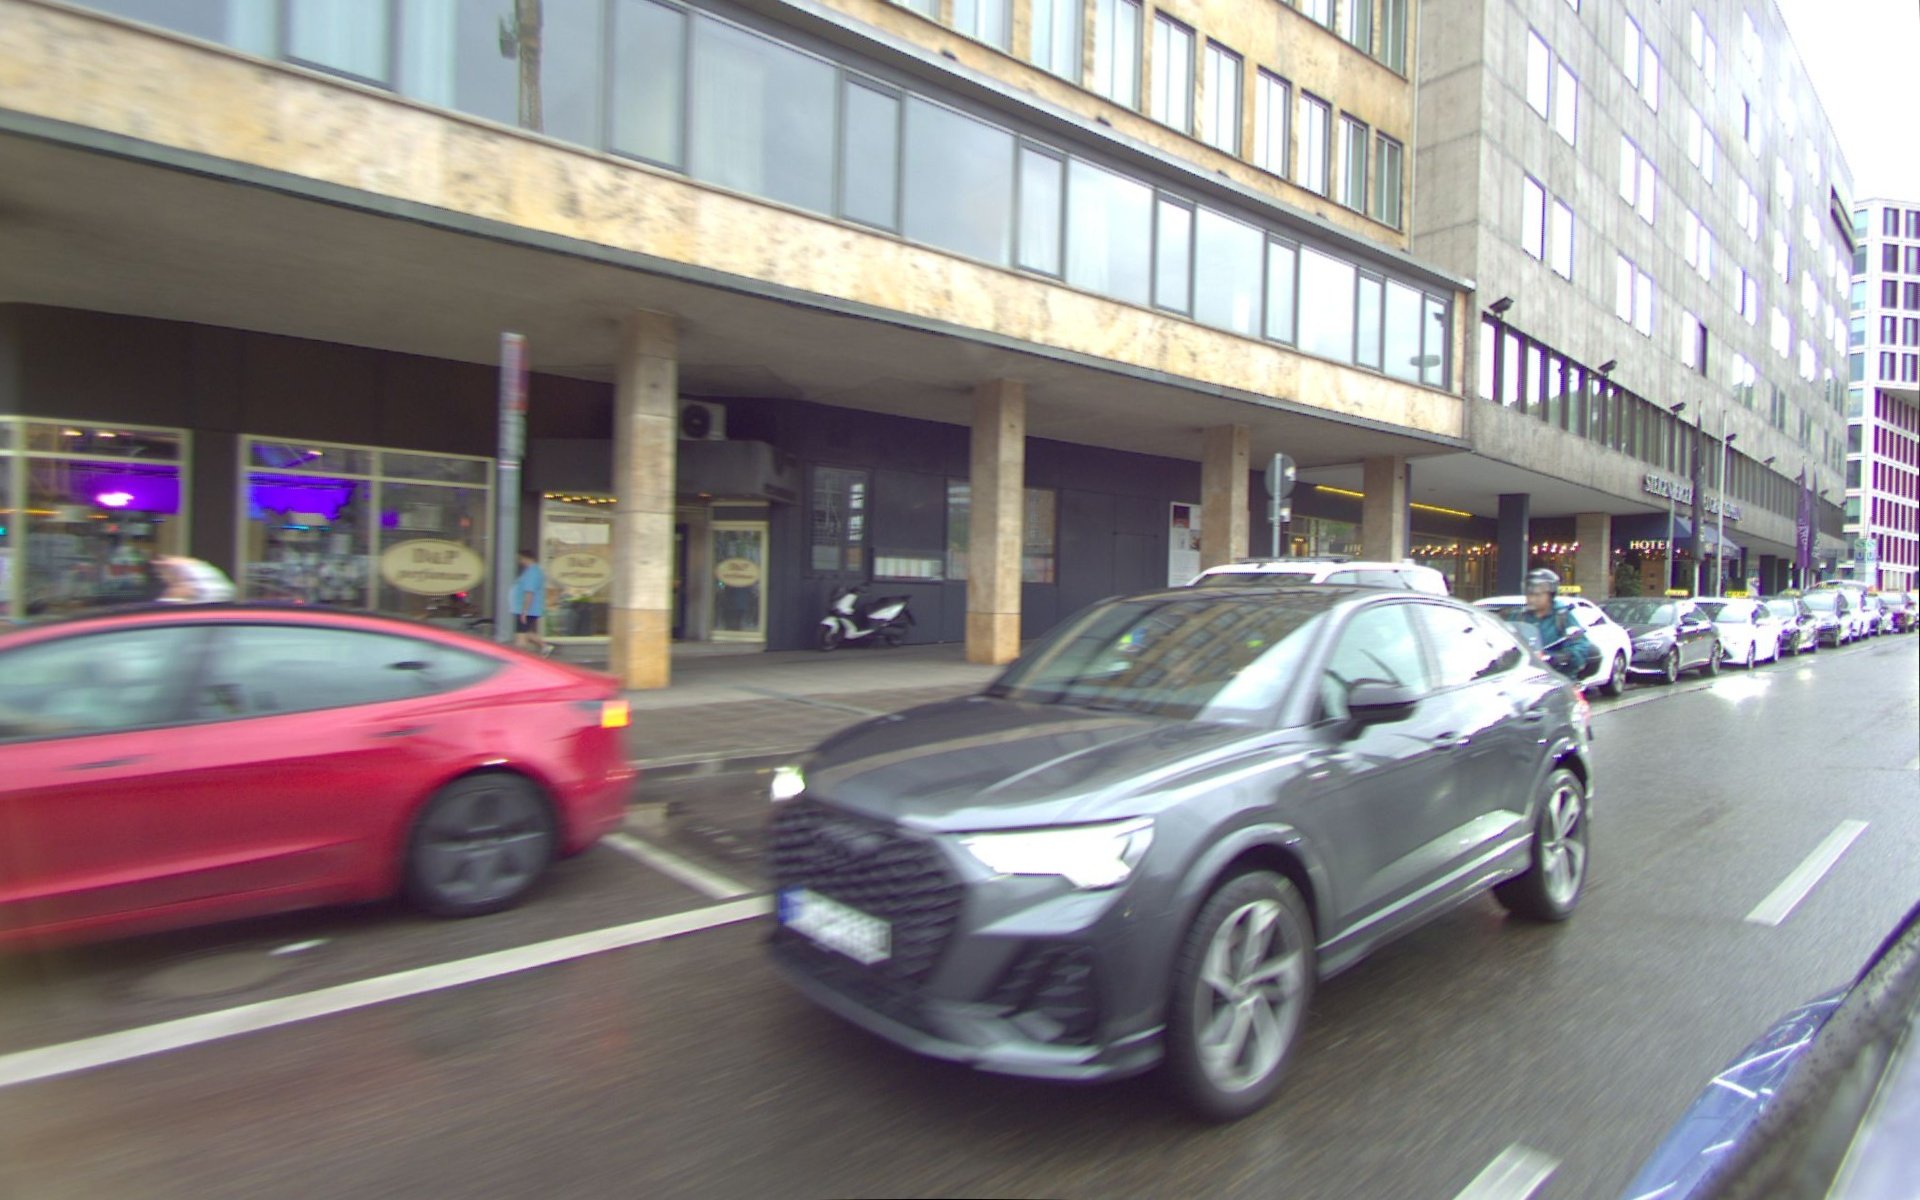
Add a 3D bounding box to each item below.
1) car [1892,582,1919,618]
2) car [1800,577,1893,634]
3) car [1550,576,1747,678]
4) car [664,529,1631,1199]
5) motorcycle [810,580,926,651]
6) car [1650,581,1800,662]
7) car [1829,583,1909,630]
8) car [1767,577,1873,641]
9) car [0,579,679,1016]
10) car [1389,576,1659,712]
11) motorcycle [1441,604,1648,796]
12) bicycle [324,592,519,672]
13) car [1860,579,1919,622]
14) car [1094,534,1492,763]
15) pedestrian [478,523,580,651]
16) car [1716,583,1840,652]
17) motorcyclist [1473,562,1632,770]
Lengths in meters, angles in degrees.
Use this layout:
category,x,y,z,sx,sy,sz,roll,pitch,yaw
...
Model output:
category,x,y,z,sx,sy,sz,roll,pitch,yaw
car,45.036,-0.020,47.316,3.932,1.634,1.729,-1,0,-41
car,29.535,0.130,33.684,4.731,1.764,1.729,-1,0,-41
car,12.769,0.405,18.653,4.731,1.658,1.877,-1,0,-41
car,1.134,0.568,4.411,4.266,1.520,1.882,-1,0,-41
motorcycle,-1.644,0.257,18.309,2.064,1.233,0.569,-1,0,-33
car,16.983,0.402,22.384,4.731,1.612,1.729,-1,0,-41
car,33.542,0.196,37.323,3.932,1.634,1.729,-1,0,-41
car,25.754,0.213,30.249,4.731,1.764,1.729,-1,0,-41
car,-3.721,0.687,4.416,4.448,1.505,1.877,-1,0,-41
car,8.302,0.502,14.678,4.925,1.658,1.877,-1,0,-41
motorcycle,4.721,0.713,8.121,1.931,1.323,0.847,-1,0,-41
bicycle,-7.799,0.425,14.757,2.429,1.059,0.657,-1,0,-41
car,37.502,0.010,40.525,3.932,1.634,1.729,-1,0,-41
car,3.762,0.373,10.915,4.850,1.944,1.877,-1,0,-41
pedestrian,-6.362,-0.189,14.963,0.795,1.813,1.123,-1,0,32
car,21.238,0.388,26.198,4.731,1.612,1.729,-1,0,-41
motorcyclist,4.744,0.484,8.114,0.829,1.547,0.860,-1,0,-41
